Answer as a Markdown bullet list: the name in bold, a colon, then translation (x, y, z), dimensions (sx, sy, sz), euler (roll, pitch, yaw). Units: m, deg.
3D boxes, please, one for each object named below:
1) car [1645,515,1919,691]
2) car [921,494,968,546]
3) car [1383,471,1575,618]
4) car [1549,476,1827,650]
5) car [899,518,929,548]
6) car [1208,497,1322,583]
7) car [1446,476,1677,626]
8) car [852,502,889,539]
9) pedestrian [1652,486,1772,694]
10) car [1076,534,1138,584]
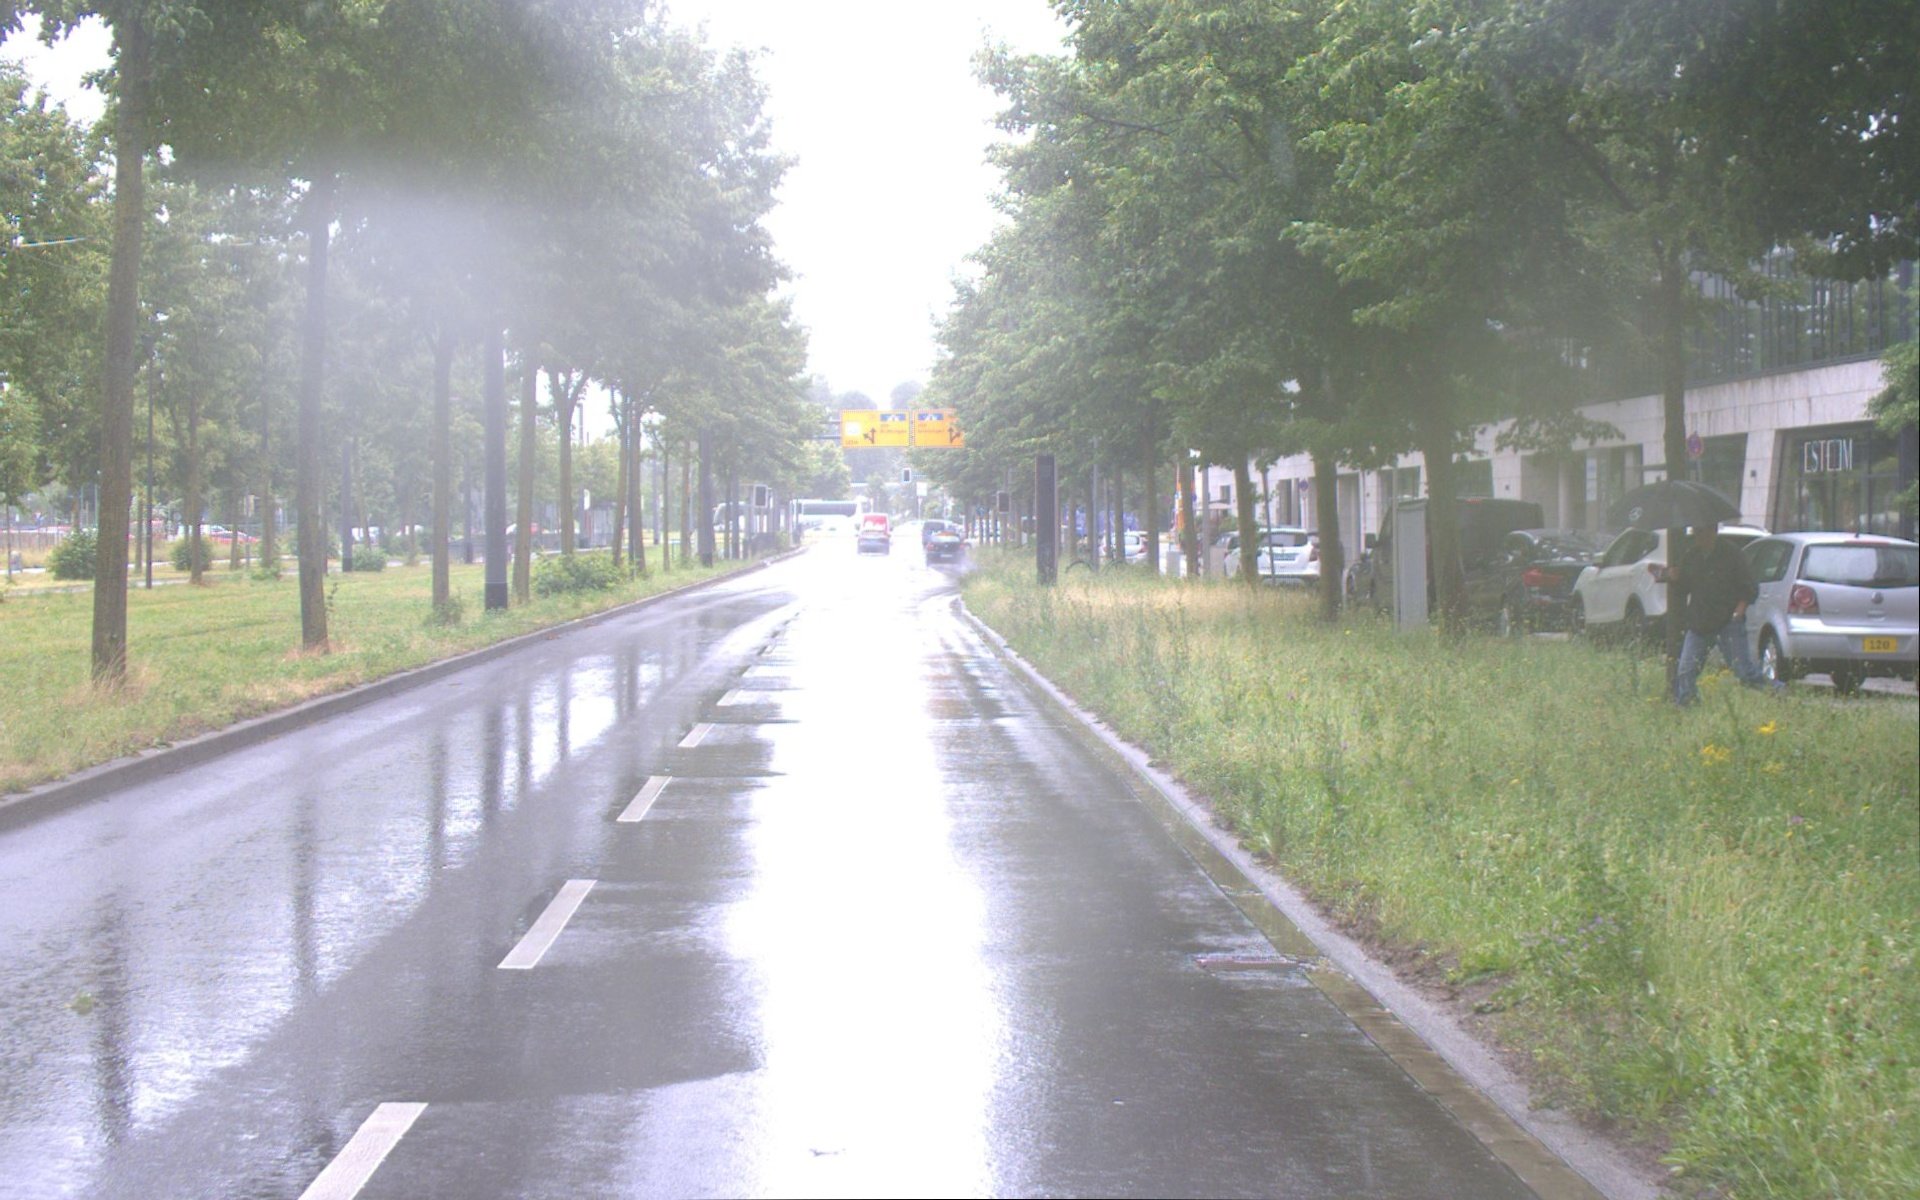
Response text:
- **car**: translation (7.902, -0.024, 32.084), dimensions (1.769, 1.447, 4.725), euler (1, 2, -4)
- **car**: translation (-0.658, -3.354, 143.703), dimensions (1.940, 2.006, 4.001), euler (0, 4, -1)
- **car**: translation (7.668, -0.883, 51.244), dimensions (1.993, 1.945, 5.030), euler (0, 4, -1)
- **car**: translation (7.971, -0.467, 38.100), dimensions (1.993, 1.663, 4.725), euler (0, 4, -1)
- **car**: translation (-3.293, -4.787, 245.724), dimensions (1.993, 2.006, 4.001), euler (0, 4, 1)
- **car**: translation (6.675, -1.351, 75.589), dimensions (1.993, 1.663, 4.725), euler (0, 4, -1)
- **car**: translation (7.615, -0.683, 44.001), dimensions (1.993, 1.663, 4.959), euler (0, 4, -1)
- **car**: translation (-5.213, -4.664, 200.910), dimensions (1.993, 2.006, 4.001), euler (0, 4, 1)
- **pedestrian**: translation (5.459, -0.079, 24.972), dimensions (0.697, 1.488, 0.644), euler (0, 1, -4)
- **car**: translation (5.178, -1.459, 121.565), dimensions (1.881, 1.500, 4.725), euler (0, 4, -1)
